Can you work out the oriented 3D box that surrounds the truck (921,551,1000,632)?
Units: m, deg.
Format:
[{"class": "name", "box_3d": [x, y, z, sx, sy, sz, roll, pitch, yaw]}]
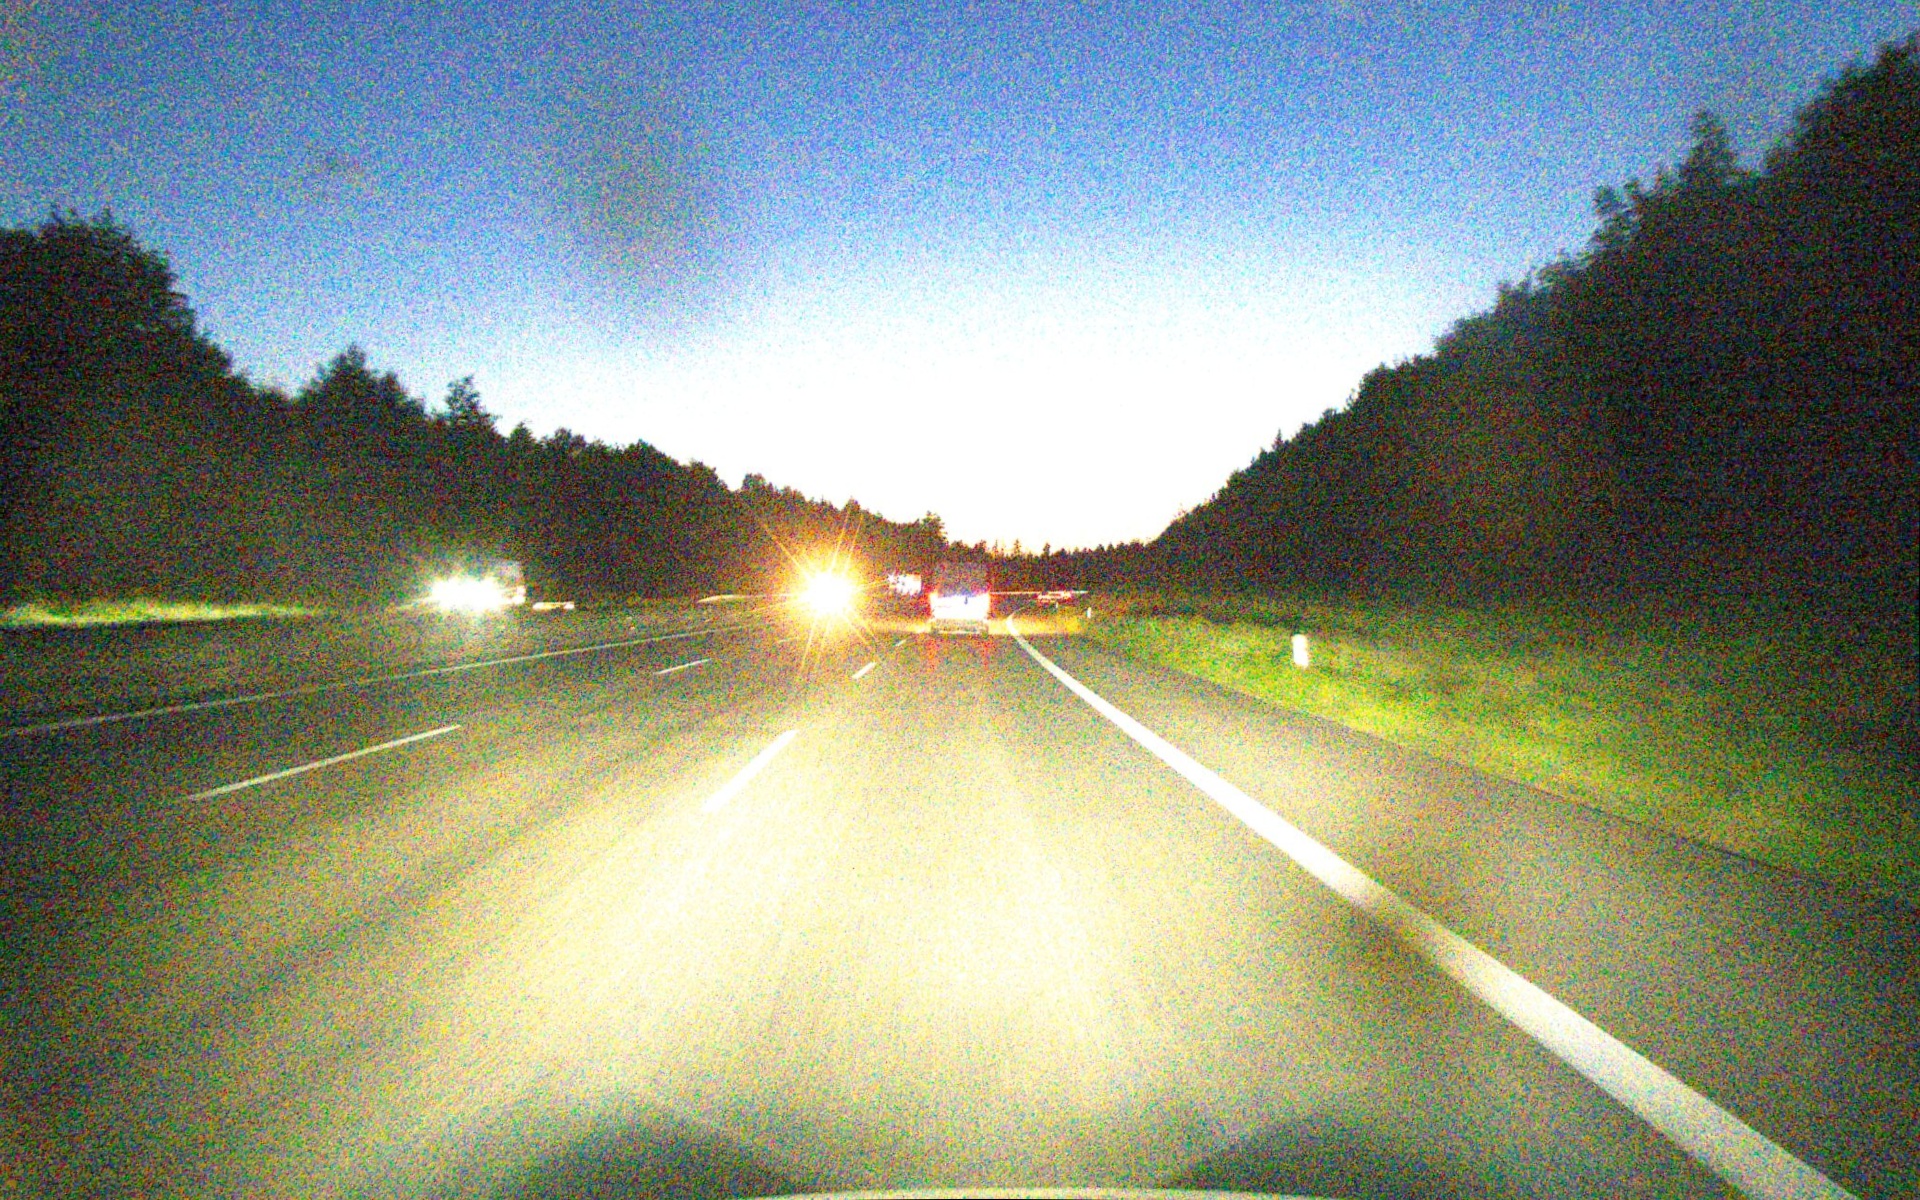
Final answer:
[{"class": "truck", "box_3d": [-0.082, -0.269, 59.712, 2.577, 2.670, 8.681, 1, 0, -2]}]

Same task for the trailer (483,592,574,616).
[{"class": "trailer", "box_3d": [-22.101, 0.219, 85.134, 2.365, 1.123, 8.078, 1, 0, 2]}]

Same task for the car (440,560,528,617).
[{"class": "car", "box_3d": [-22.369, -0.514, 77.988, 2.038, 2.531, 6.244, 1, 0, 2]}]
